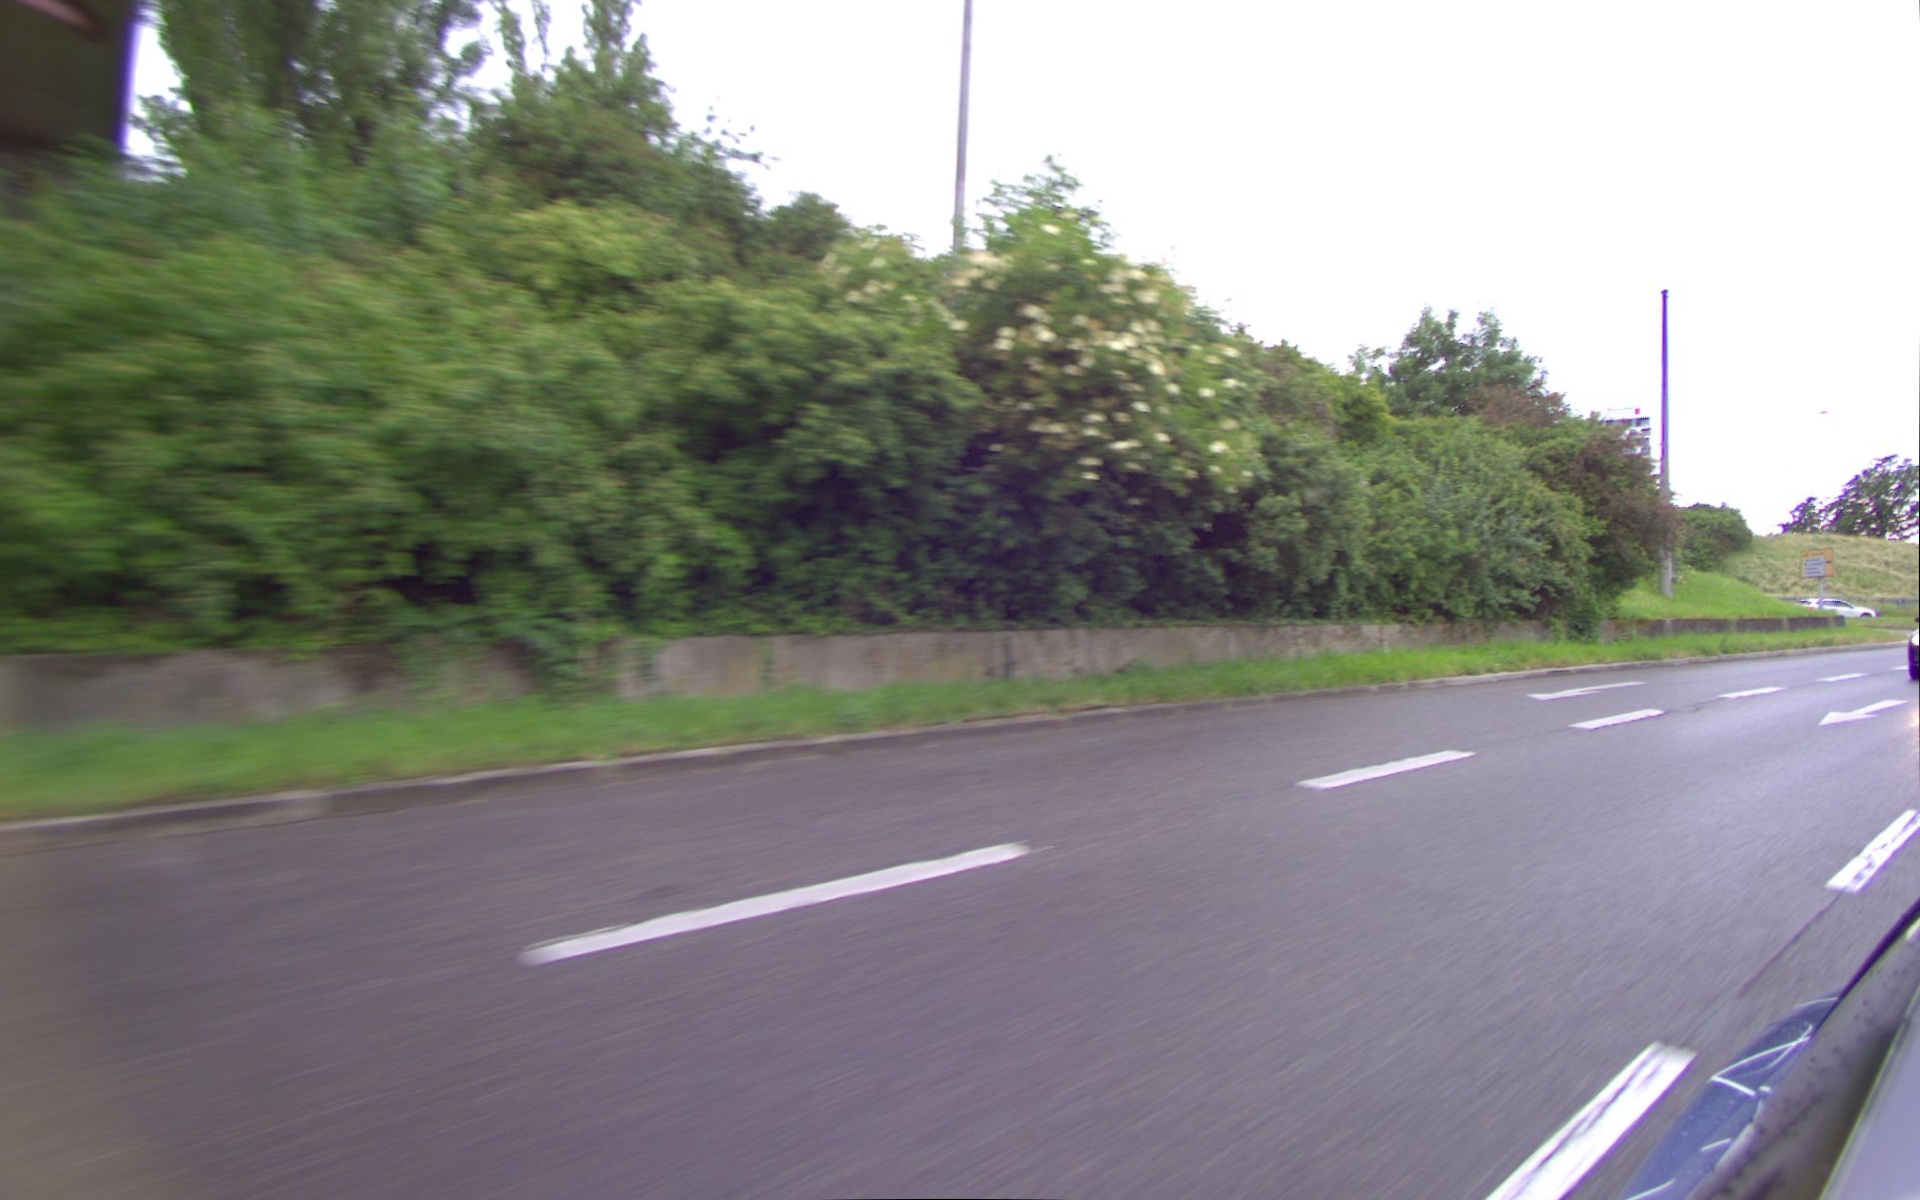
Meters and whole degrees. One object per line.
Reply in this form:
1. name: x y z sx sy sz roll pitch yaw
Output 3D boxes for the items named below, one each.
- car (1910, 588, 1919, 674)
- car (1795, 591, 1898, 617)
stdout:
1. car: 20.424 0.586 19.733 4.197 1.621 1.929 0 0 -35
2. car: 53.930 0.250 61.636 4.201 1.447 2.069 2 -1 9
